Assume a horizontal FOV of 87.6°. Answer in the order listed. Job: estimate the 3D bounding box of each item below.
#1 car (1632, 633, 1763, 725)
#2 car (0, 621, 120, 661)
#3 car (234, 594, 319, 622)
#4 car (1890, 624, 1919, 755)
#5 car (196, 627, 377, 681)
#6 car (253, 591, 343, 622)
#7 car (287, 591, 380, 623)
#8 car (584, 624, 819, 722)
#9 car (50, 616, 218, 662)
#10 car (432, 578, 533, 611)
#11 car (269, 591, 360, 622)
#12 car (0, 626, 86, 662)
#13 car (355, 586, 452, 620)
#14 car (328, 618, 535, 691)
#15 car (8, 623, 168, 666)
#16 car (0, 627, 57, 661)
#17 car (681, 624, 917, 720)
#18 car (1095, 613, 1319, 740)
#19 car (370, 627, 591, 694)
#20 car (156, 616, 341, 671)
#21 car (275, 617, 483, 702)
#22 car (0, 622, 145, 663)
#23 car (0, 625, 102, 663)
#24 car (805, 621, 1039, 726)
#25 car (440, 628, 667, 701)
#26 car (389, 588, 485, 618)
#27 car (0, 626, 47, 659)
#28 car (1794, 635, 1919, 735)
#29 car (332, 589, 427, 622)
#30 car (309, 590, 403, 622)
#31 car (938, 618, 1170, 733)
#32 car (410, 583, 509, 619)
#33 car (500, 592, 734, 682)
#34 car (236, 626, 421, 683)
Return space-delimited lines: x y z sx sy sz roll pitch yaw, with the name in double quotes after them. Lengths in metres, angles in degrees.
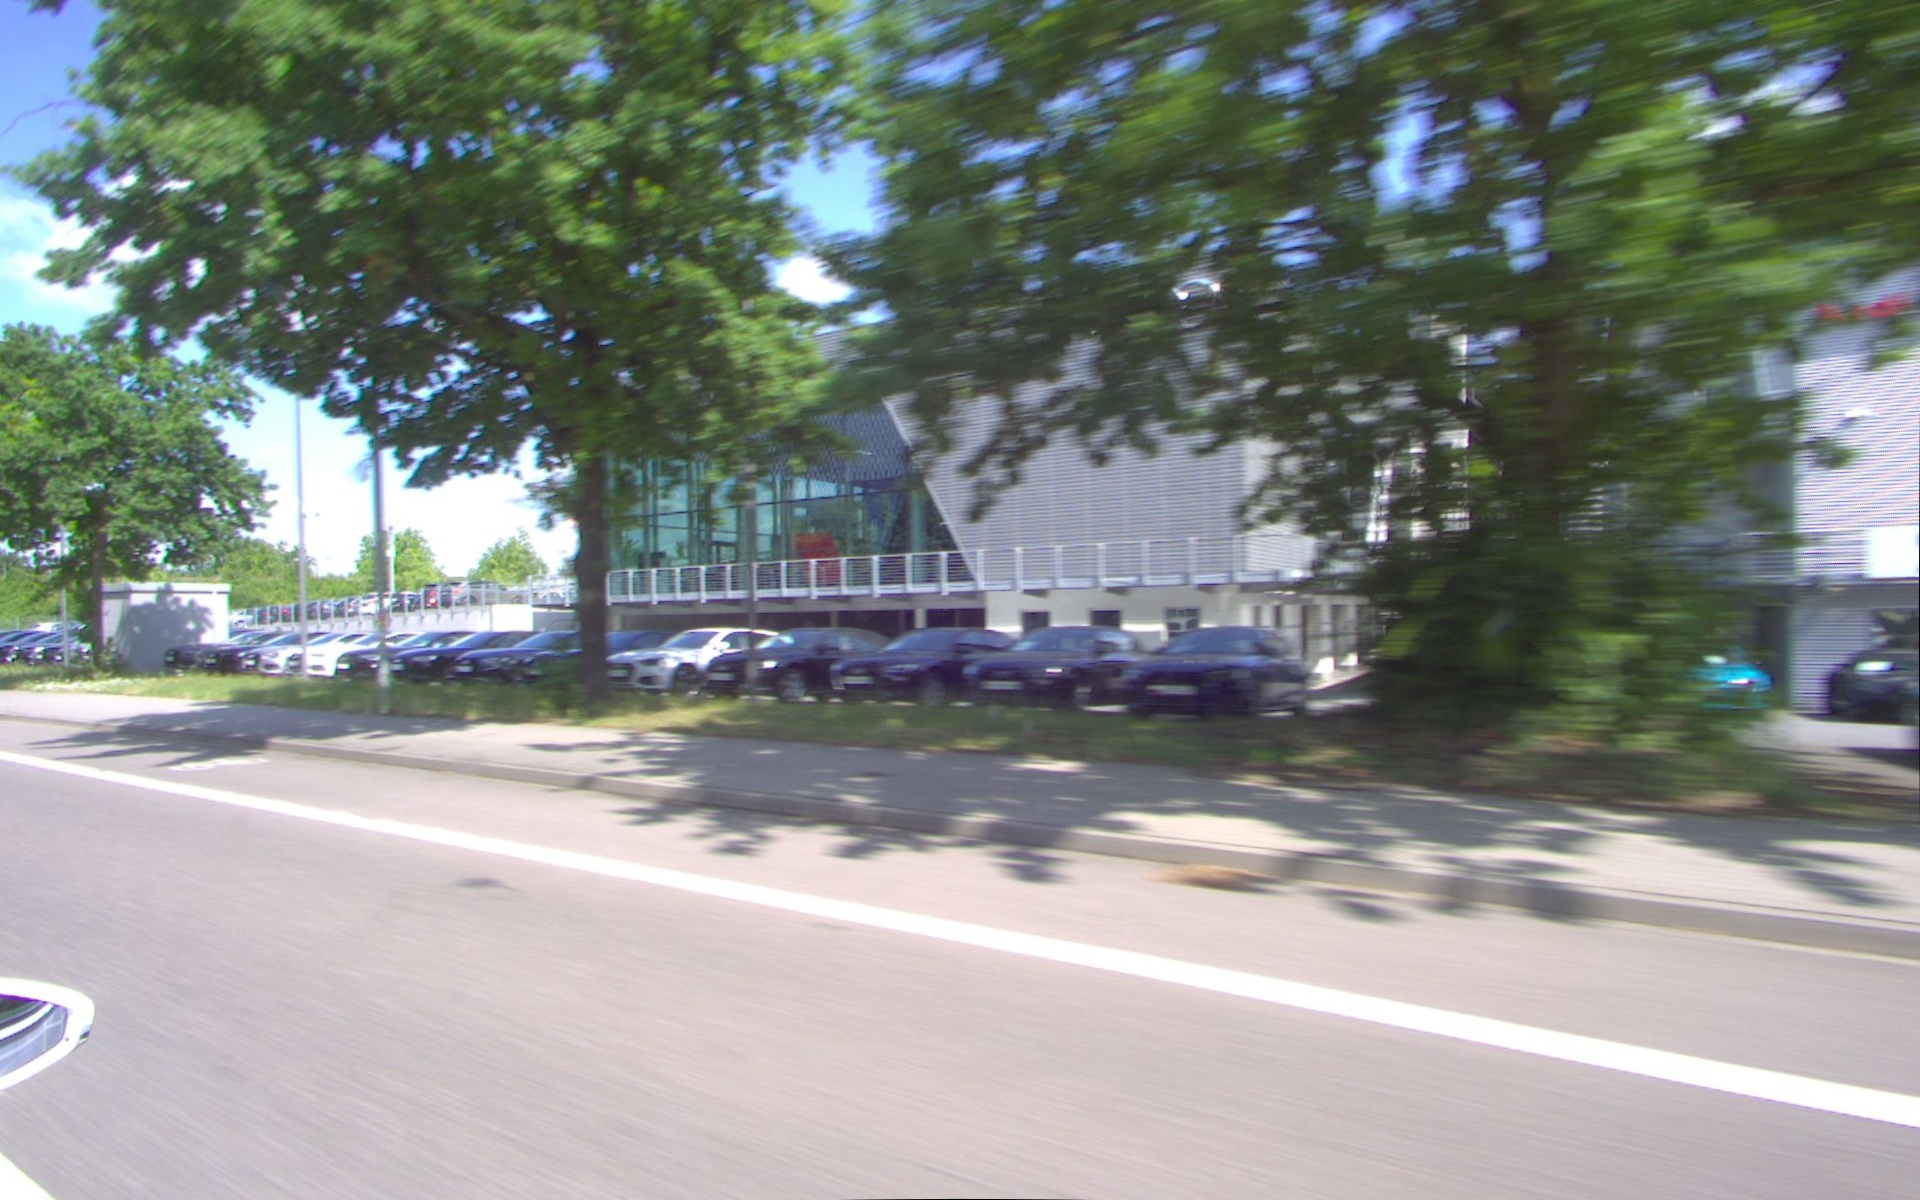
14.565 1.454 19.758 1.883 1.518 4.330 -1 -1 38 "car"
-38.490 1.692 42.204 1.907 1.532 4.349 1 -1 31 "car"
-45.601 0.552 66.882 1.909 1.798 4.343 1 0 35 "car"
10.647 0.935 9.439 1.879 1.423 4.569 1 -2 32 "car"
-19.890 1.548 29.749 1.829 1.464 4.099 -1 -1 33 "car"
-41.813 0.429 63.317 1.909 1.798 4.343 1 0 35 "car"
-37.584 0.441 60.159 1.909 1.798 4.343 1 0 35 "car"
-5.048 1.352 20.208 1.879 1.700 4.567 1 -1 32 "car"
-29.994 1.375 36.497 1.907 1.532 4.349 1 -1 31 "car"
-24.781 -0.252 52.079 1.909 1.572 4.343 1 -1 35 "car"
-39.520 0.432 61.394 1.909 1.798 4.343 1 0 35 "car"
-42.556 1.970 45.169 1.907 1.532 4.349 1 -1 31 "car"
-31.223 0.188 56.281 1.909 1.798 4.343 1 0 35 "car"
-13.461 1.452 25.792 1.760 1.530 4.346 1 -5 32 "car"
-34.067 1.692 39.244 1.907 1.532 4.349 1 -1 31 "car"
-44.794 2.030 46.148 1.907 1.532 4.349 1 -1 31 "car"
-2.885 1.259 18.998 1.880 1.518 4.566 -1 -1 32 "car"
3.776 0.981 14.658 1.880 1.518 4.566 -1 -1 32 "car"
-11.513 1.387 24.367 1.879 1.423 4.567 1 -1 32 "car"
-22.135 1.311 31.321 1.829 1.532 4.345 -1 -1 33 "car"
-15.720 1.548 27.366 1.879 2.076 4.567 1 0 32 "car"
-36.102 1.688 40.607 1.907 1.532 4.349 1 -1 31 "car"
-40.567 1.895 43.712 1.907 1.532 4.349 1 -1 31 "car"
-0.501 1.176 17.631 1.880 1.518 4.566 -1 -1 32 "car"
-9.101 1.371 22.826 1.879 1.423 4.567 1 -1 32 "car"
-28.795 0.193 55.252 1.909 1.572 4.343 1 -1 35 "car"
-46.677 2.016 47.725 1.907 1.532 4.349 1 -1 31 "car"
16.731 1.441 18.131 1.880 1.518 4.338 -1 -1 32 "car"
-33.328 0.361 57.625 1.909 1.798 4.343 1 0 35 "car"
-35.596 0.353 59.108 1.909 1.798 4.343 1 0 35 "car"
1.677 1.076 16.052 1.880 1.518 4.566 -1 -1 32 "car"
-26.689 0.054 53.521 1.909 1.798 4.343 1 0 35 "car"
-7.146 0.742 21.371 1.879 1.700 4.567 1 -1 32 "car"
-17.835 1.498 28.477 1.792 1.422 4.099 -1 -1 32 "car"
